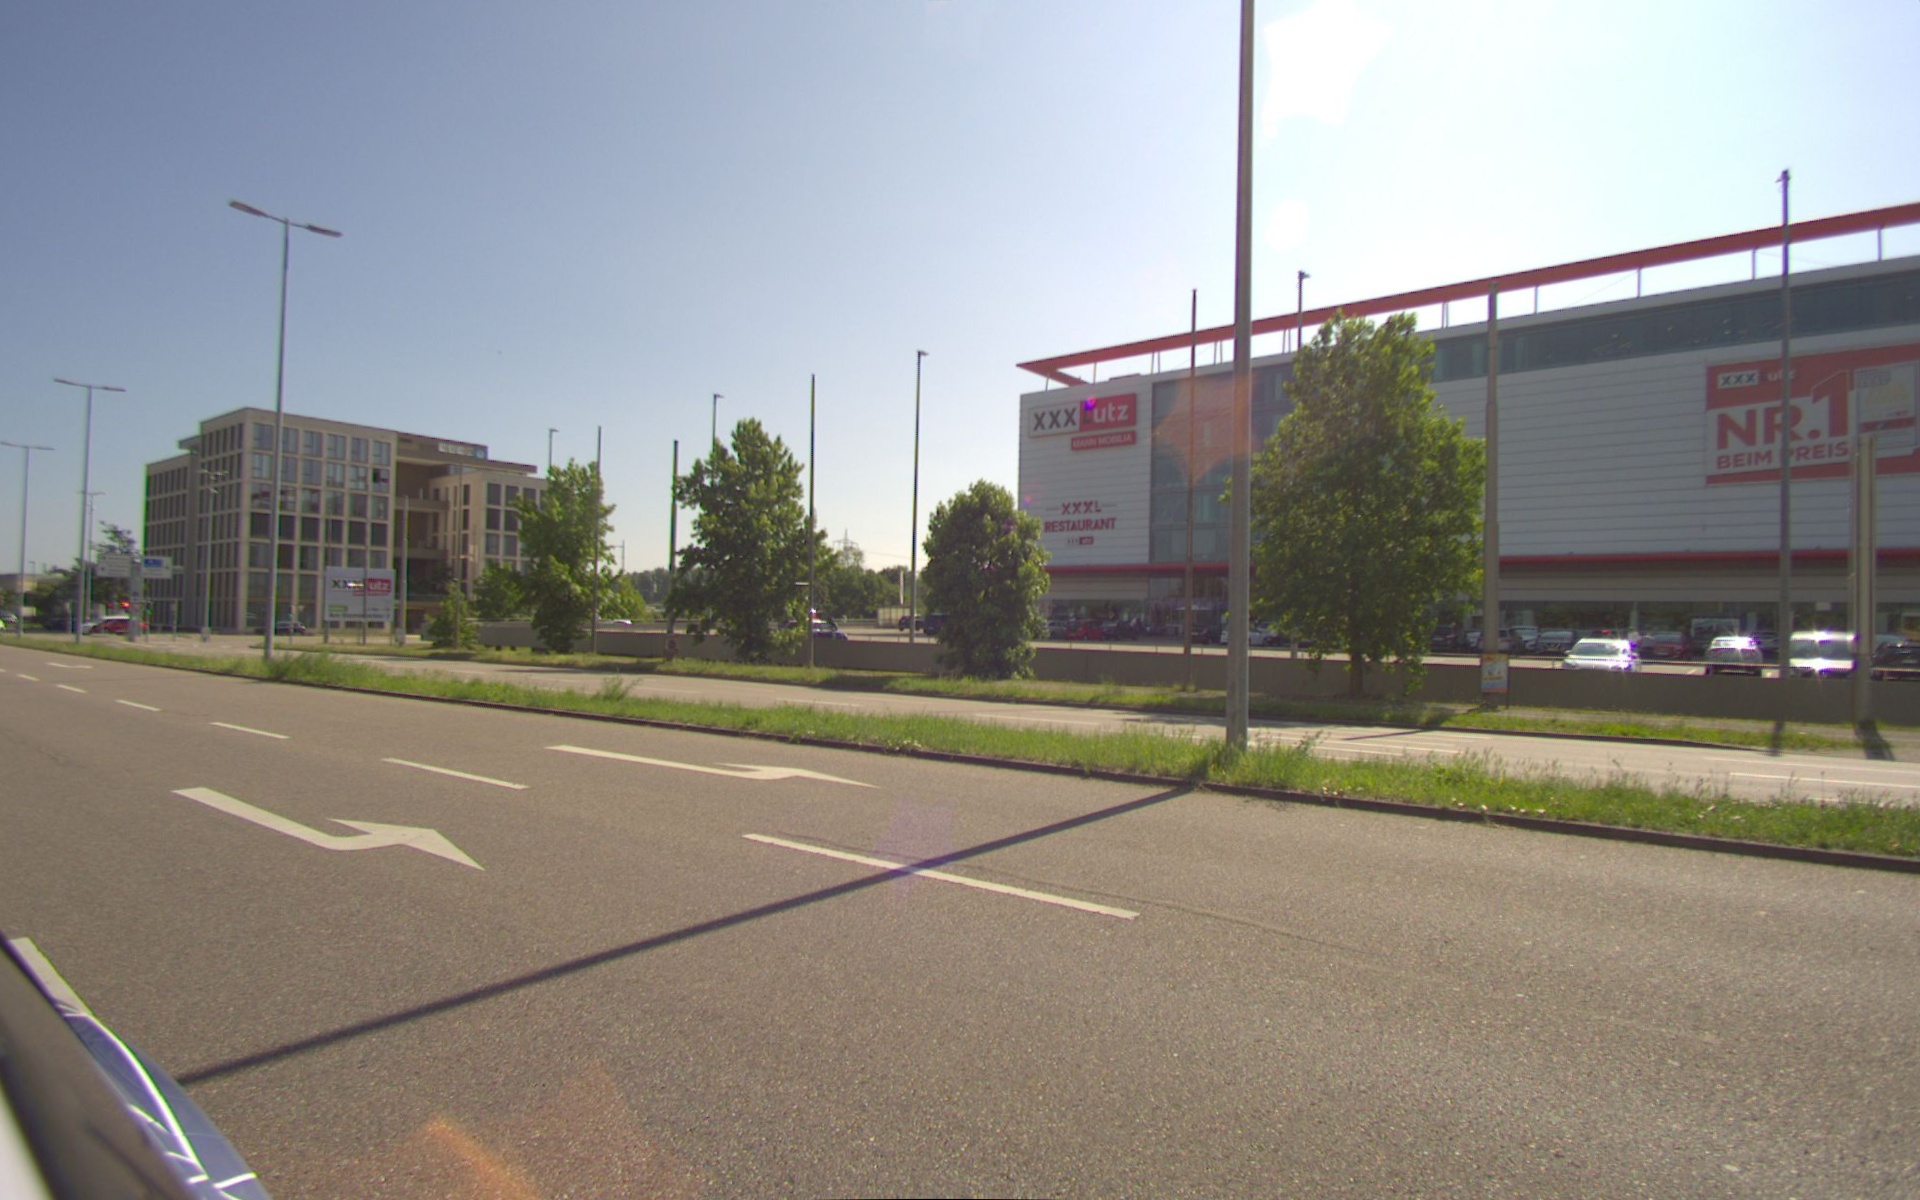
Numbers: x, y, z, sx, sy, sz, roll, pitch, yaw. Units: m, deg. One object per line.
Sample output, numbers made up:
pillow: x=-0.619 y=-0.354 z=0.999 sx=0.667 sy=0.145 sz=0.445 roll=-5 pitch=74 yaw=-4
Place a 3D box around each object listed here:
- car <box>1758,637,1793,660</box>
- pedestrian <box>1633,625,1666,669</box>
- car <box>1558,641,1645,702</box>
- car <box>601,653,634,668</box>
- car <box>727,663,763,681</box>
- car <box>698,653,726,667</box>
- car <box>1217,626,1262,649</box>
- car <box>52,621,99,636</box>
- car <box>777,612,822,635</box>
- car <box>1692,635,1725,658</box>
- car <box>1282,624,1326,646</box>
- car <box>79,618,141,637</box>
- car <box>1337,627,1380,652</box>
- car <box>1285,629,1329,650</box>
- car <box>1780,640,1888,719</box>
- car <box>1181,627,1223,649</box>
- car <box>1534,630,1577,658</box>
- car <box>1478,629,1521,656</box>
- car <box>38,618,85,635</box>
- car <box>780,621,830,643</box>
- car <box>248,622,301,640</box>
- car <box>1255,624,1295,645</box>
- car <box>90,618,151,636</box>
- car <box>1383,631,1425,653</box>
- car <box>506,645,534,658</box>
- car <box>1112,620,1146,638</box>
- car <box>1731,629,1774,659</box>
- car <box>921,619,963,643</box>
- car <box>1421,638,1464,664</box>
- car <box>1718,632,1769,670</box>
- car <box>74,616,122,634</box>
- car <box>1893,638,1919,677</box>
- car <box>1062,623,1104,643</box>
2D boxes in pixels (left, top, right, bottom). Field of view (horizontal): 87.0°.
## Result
car: x=46.715 y=2.738 z=58.026 sx=1.514 sy=1.234 sz=3.058 roll=1 pitch=-1 yaw=38
pedestrian: x=32.176 y=2.206 z=47.261 sx=0.850 sy=2.029 sz=1.024 roll=3 pitch=-4 yaw=-36
car: x=19.088 y=2.058 z=30.028 sx=1.868 sy=1.640 sz=4.371 roll=0 pitch=-2 yaw=37
car: x=-24.204 y=4.295 z=71.569 sx=1.069 sy=0.983 sz=1.919 roll=1 pitch=-1 yaw=36
car: x=-13.246 y=4.425 z=62.391 sx=1.069 sy=0.983 sz=1.919 roll=1 pitch=-1 yaw=36
car: x=-19.011 y=4.613 z=77.715 sx=0.909 sy=0.983 sz=1.919 roll=1 pitch=-1 yaw=36
car: x=17.521 y=2.350 z=63.412 sx=1.702 sy=1.340 sz=3.058 roll=1 pitch=-1 yaw=38
car: x=-108.418 y=3.497 z=124.112 sx=3.931 sy=1.627 sz=2.006 roll=2 pitch=-3 yaw=-30
car: x=-11.671 y=1.729 z=73.540 sx=1.772 sy=1.568 sz=2.740 roll=-2 pitch=-3 yaw=38
car: x=44.915 y=2.766 z=60.673 sx=1.514 sy=1.340 sz=3.058 roll=1 pitch=-1 yaw=38
car: x=22.305 y=2.280 z=65.540 sx=1.628 sy=1.340 sz=3.630 roll=1 pitch=-1 yaw=38
car: x=-80.388 y=2.579 z=95.752 sx=1.901 sy=1.724 sz=4.178 roll=-1 pitch=-3 yaw=37
car: x=23.058 y=2.287 z=58.474 sx=1.514 sy=1.340 sz=3.058 roll=1 pitch=-1 yaw=38
car: x=20.725 y=2.358 z=60.404 sx=1.479 sy=1.208 sz=3.465 roll=1 pitch=-1 yaw=38
car: x=22.848 y=2.007 z=26.591 sx=1.943 sy=1.856 sz=4.369 roll=0 pitch=-2 yaw=38
car: x=15.630 y=2.443 z=65.315 sx=1.514 sy=1.340 sz=3.058 roll=1 pitch=-1 yaw=38
car: x=30.731 y=2.249 z=52.178 sx=1.514 sy=1.340 sz=3.058 roll=1 pitch=-1 yaw=38
car: x=28.836 y=2.275 z=54.027 sx=1.514 sy=1.340 sz=3.058 roll=1 pitch=-1 yaw=38
car: x=-111.149 y=3.270 z=125.251 sx=3.931 sy=2.029 sz=2.006 roll=2 pitch=-3 yaw=-30
car: x=-7.839 y=1.613 z=51.402 sx=1.069 sy=1.067 sz=2.490 roll=1 pitch=-1 yaw=36
car: x=-72.067 y=3.265 z=106.418 sx=1.833 sy=1.903 sz=4.187 roll=0 pitch=-1 yaw=40
car: x=21.015 y=2.325 z=67.451 sx=1.514 sy=1.340 sz=3.058 roll=1 pitch=-1 yaw=38
car: x=-77.495 y=2.511 z=93.511 sx=1.528 sy=1.539 sz=4.068 roll=-1 pitch=-3 yaw=37
car: x=27.066 y=2.532 z=61.668 sx=1.604 sy=1.237 sz=3.058 roll=1 pitch=-1 yaw=38
car: x=-35.194 y=4.147 z=81.018 sx=0.865 sy=0.983 sz=1.825 roll=1 pitch=-1 yaw=36
car: x=13.889 y=2.388 z=83.053 sx=1.514 sy=1.340 sz=3.058 roll=1 pitch=-1 yaw=38
car: x=37.249 y=2.065 z=47.591 sx=1.514 sy=1.340 sz=3.058 roll=1 pitch=-1 yaw=38
car: x=-1.386 y=2.388 z=78.679 sx=1.690 sy=1.771 sz=3.058 roll=1 pitch=-1 yaw=38
car: x=26.418 y=2.764 z=55.367 sx=1.514 sy=1.303 sz=3.057 roll=1 pitch=-1 yaw=38
car: x=30.589 y=1.957 z=39.522 sx=1.514 sy=1.340 sz=4.445 roll=1 pitch=-1 yaw=38
car: x=-102.457 y=2.981 z=120.355 sx=3.931 sy=2.029 sz=2.006 roll=2 pitch=-3 yaw=-30
car: x=34.282 y=2.030 z=35.878 sx=1.514 sy=1.340 sz=3.058 roll=1 pitch=-1 yaw=38
car: x=8.719 y=2.313 z=71.452 sx=1.514 sy=1.340 sz=3.183 roll=1 pitch=-1 yaw=38
